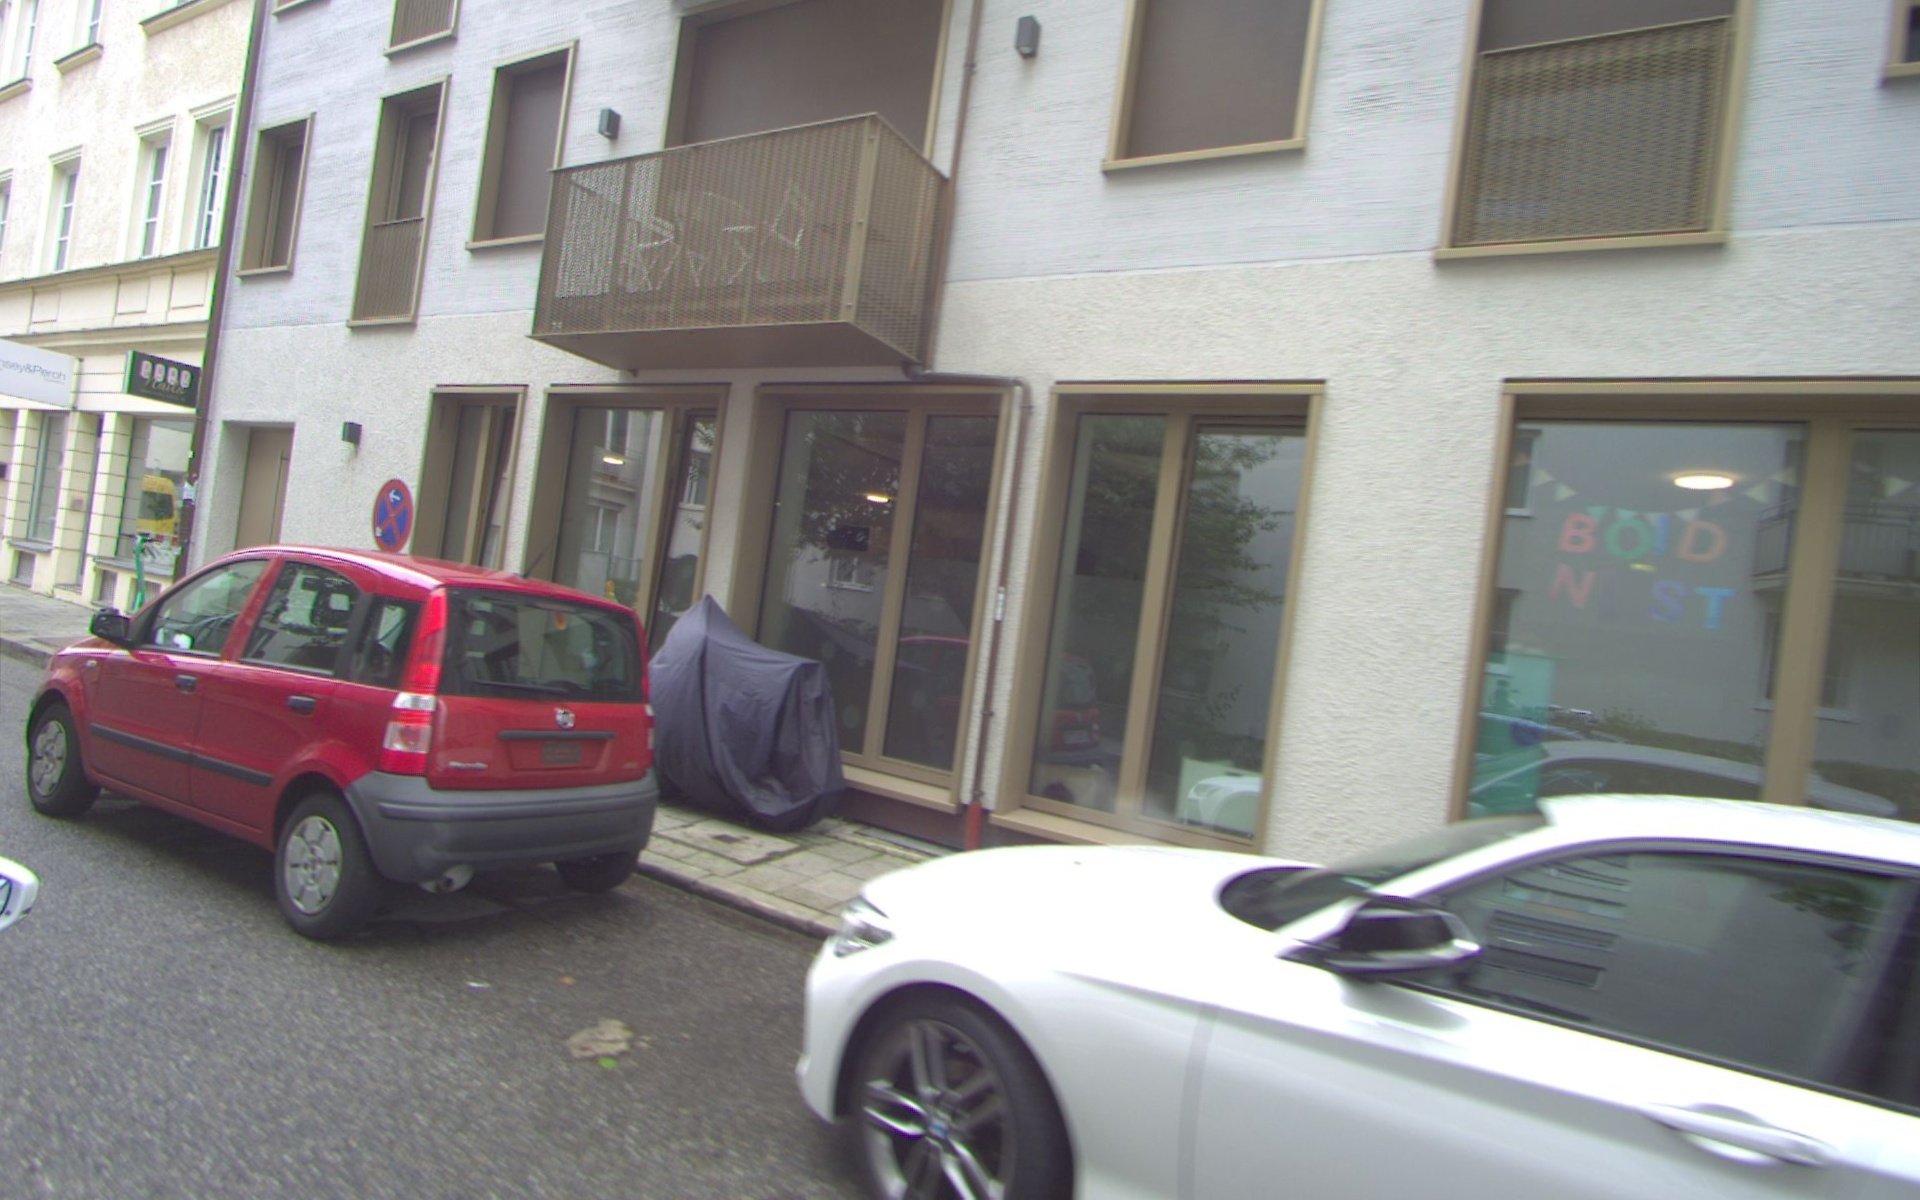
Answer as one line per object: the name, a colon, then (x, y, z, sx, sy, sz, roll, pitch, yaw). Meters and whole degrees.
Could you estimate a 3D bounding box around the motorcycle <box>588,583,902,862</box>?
motorcycle: (-1.448, 0.710, 6.628, 1.900, 1.442, 0.805, 7, 3, 32)

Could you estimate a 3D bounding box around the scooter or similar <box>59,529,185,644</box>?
scooter or similar: (-9.588, -0.179, 11.573, 0.488, 1.199, 1.600, 5, 2, -18)

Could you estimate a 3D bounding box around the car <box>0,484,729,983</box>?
car: (-3.359, 0.431, 5.207, 4.000, 1.540, 1.776, 7, -3, 33)

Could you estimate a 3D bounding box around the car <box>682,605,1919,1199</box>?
car: (1.610, 1.079, 2.340, 4.308, 1.477, 1.773, 7, -3, 33)
